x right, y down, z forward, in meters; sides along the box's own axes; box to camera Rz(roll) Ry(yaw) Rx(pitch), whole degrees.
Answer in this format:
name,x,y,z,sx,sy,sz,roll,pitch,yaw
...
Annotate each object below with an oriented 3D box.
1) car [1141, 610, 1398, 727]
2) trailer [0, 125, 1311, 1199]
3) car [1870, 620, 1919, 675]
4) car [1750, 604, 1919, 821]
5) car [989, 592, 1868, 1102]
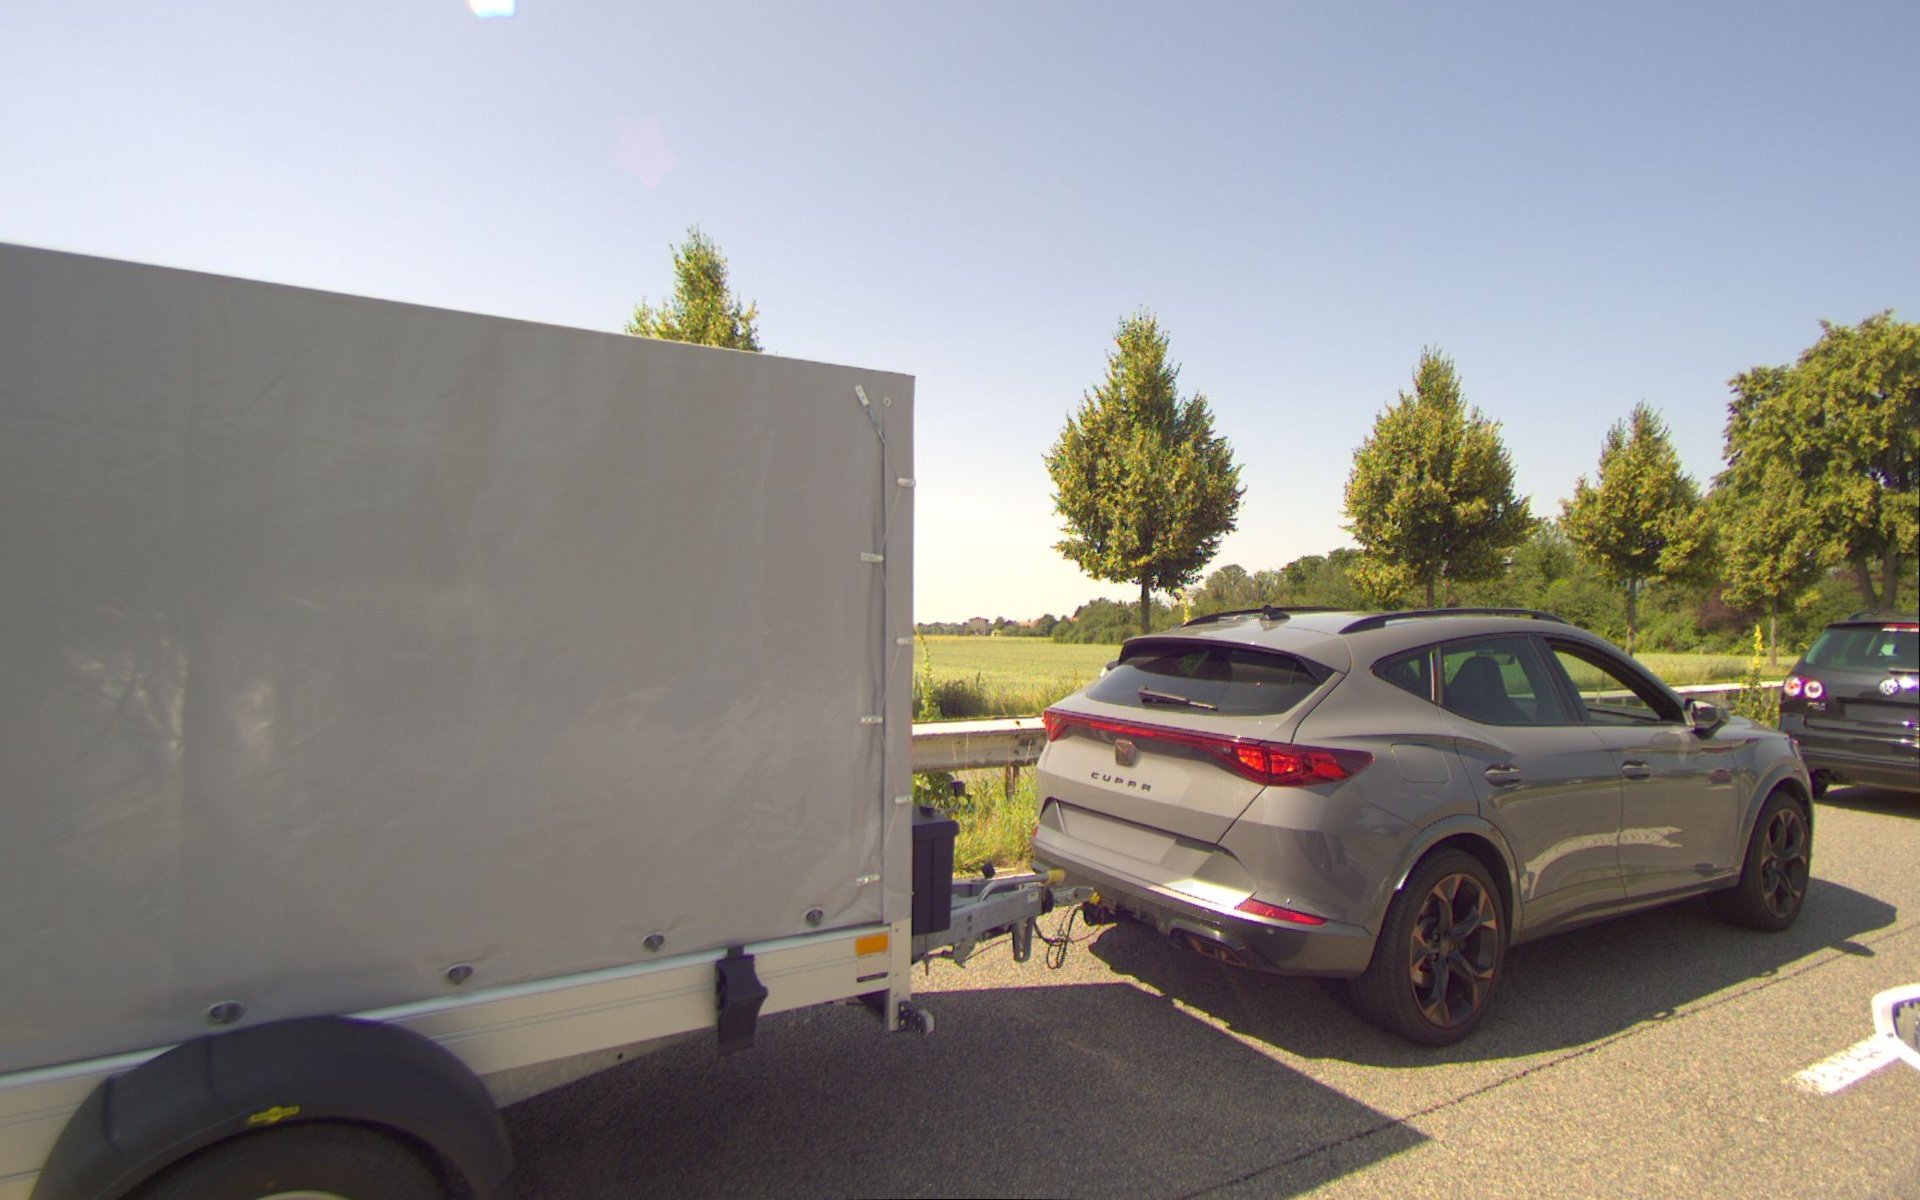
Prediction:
name,x,y,z,sx,sy,sz,roll,pitch,yaw
car,5.637,1.161,18.137,4.644,1.880,1.848,1,-2,-32
trailer,-1.046,0.361,2.756,4.125,2.202,1.493,1,0,-31
car,35.915,1.740,37.209,4.959,1.956,1.983,1,-2,-32
car,8.643,0.856,8.535,3.845,1.597,1.715,1,0,-30
car,2.418,0.768,4.860,4.312,1.523,1.737,1,0,-31
